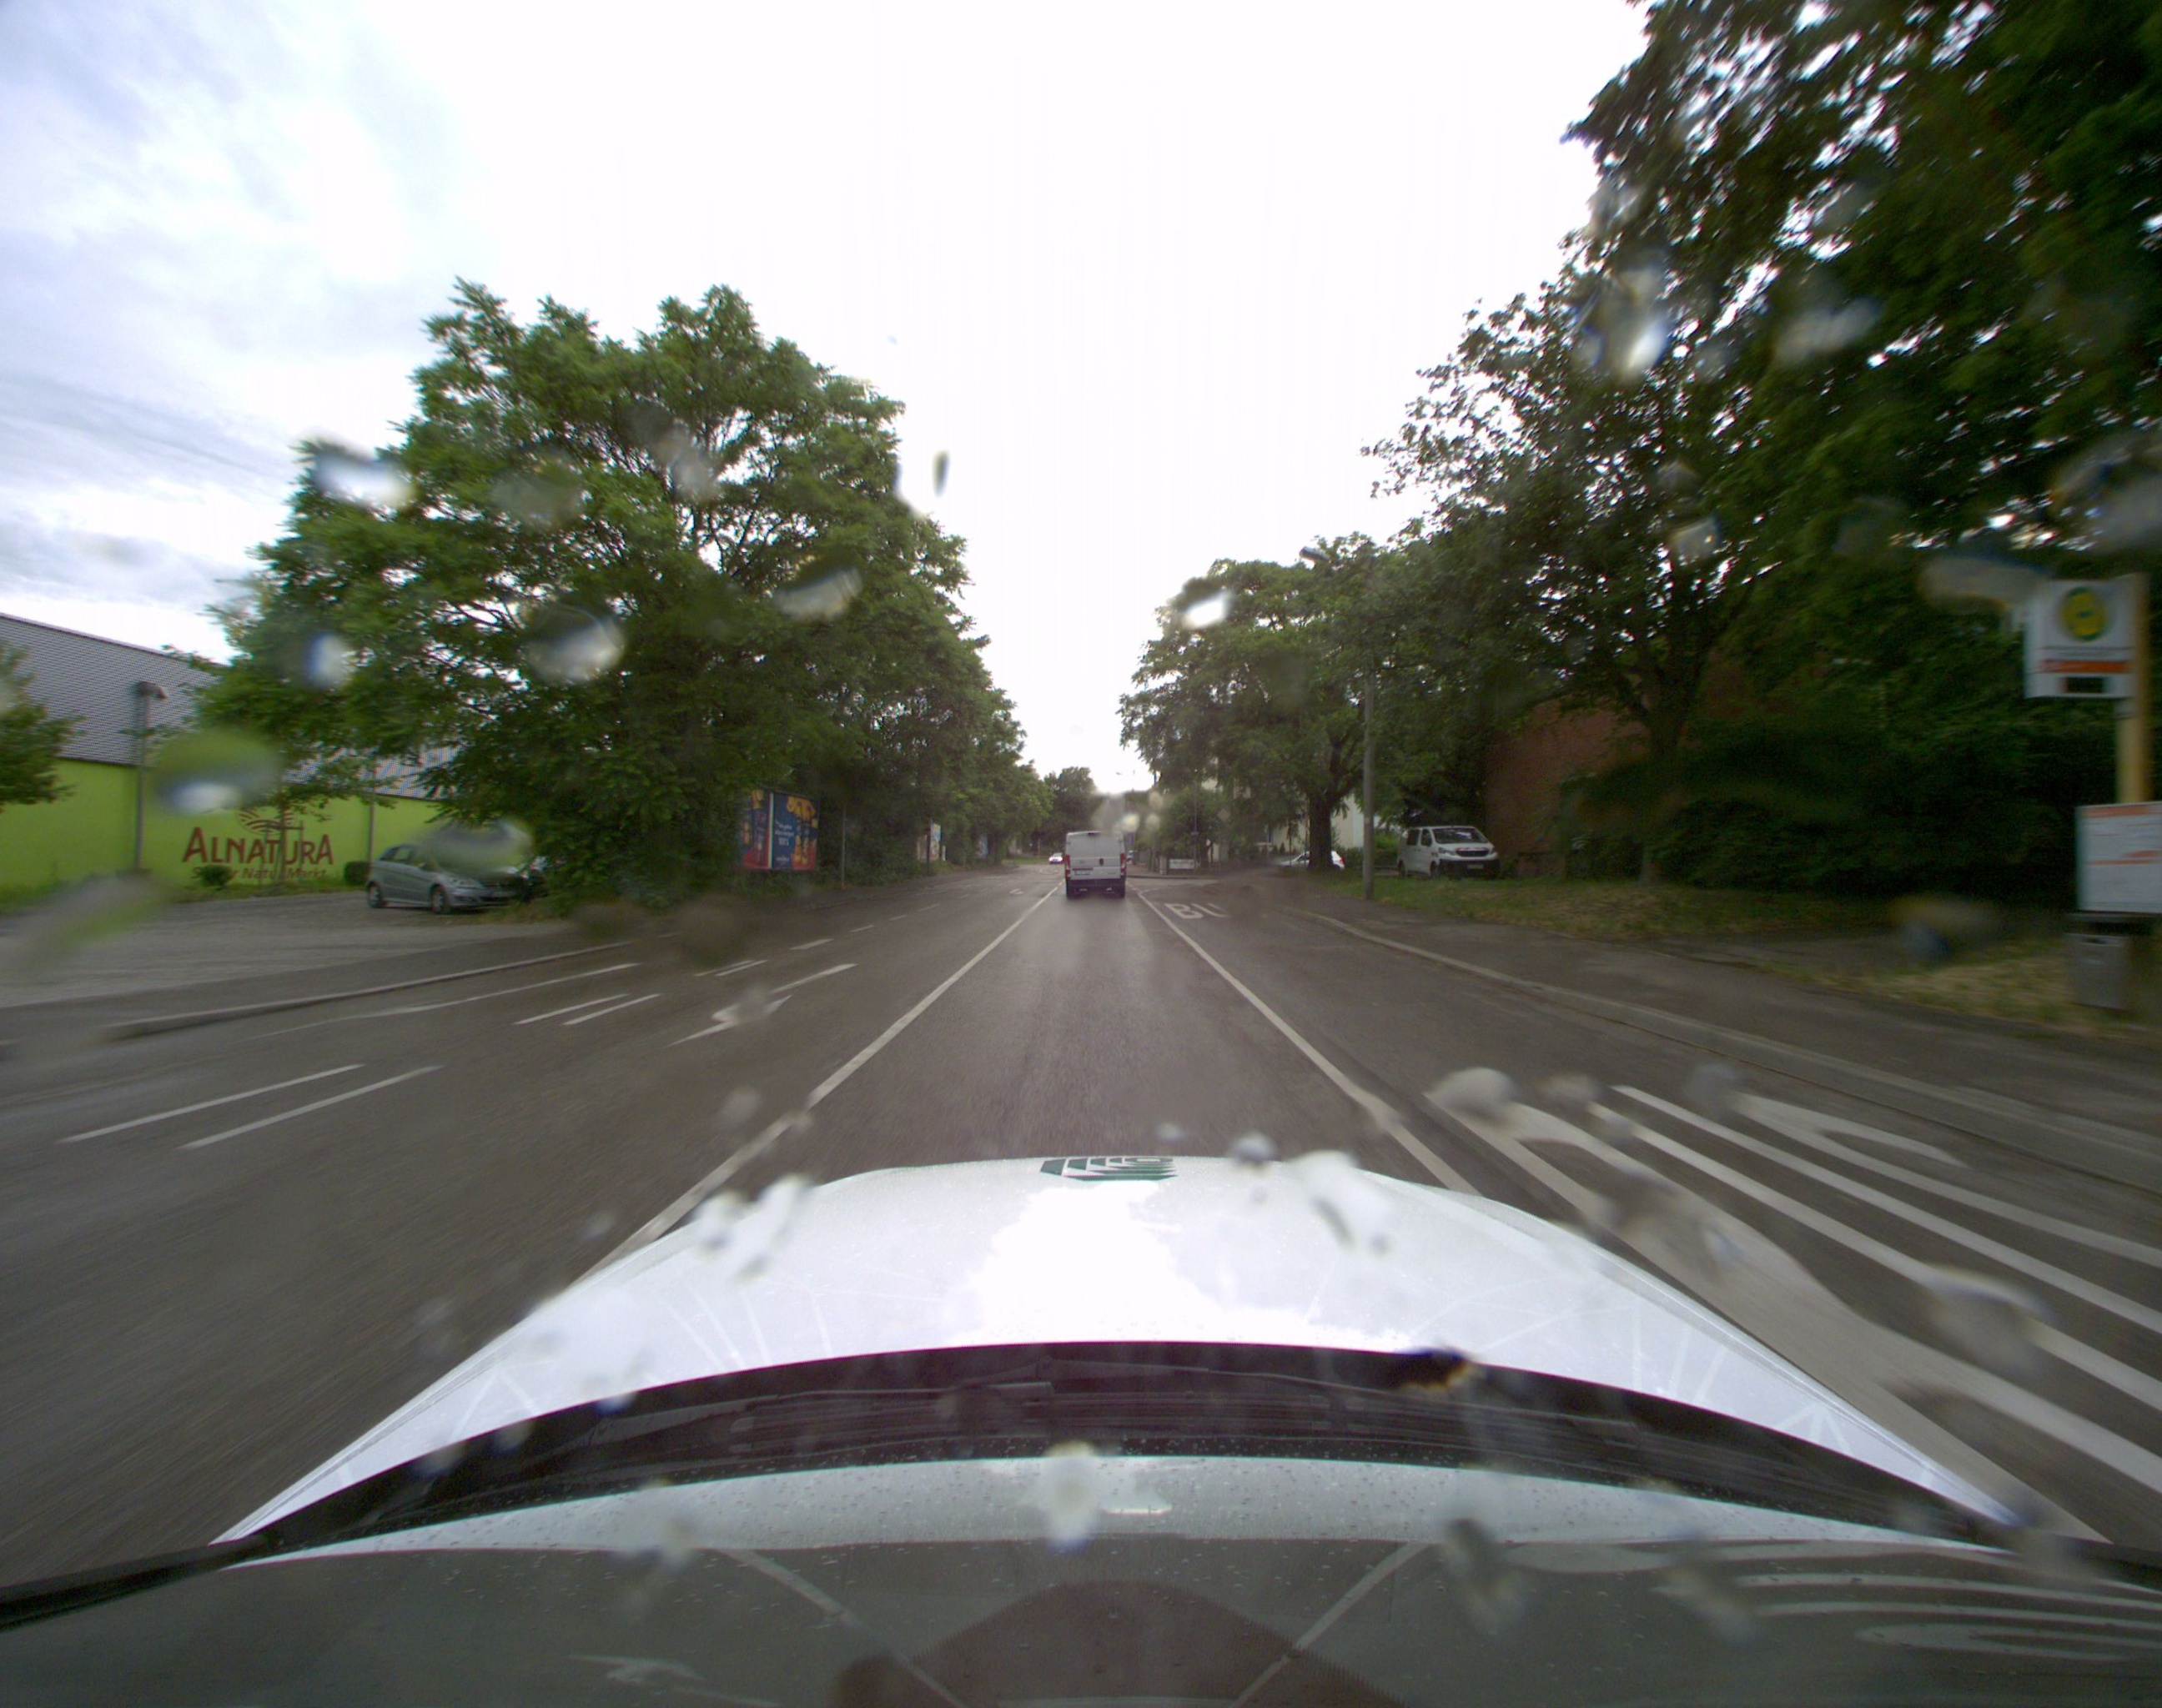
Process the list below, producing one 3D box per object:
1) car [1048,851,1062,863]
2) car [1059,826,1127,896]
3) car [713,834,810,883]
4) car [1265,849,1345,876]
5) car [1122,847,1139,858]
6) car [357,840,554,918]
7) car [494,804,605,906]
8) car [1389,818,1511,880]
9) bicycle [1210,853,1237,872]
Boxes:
[{"bbox_3d":[-3.330,0.327,103.803,1.648,1.417,3.935,-2,1,0],"label":"car"},{"bbox_3d":[0.332,0.259,29.212,2.141,2.283,5.058,1,-1,-2],"label":"car"},{"bbox_3d":[-13.895,0.159,35.379,3.949,1.937,2.013,2,1,35],"label":"car"},{"bbox_3d":[12.475,0.493,45.568,3.977,1.423,1.702,-1,-2,-2],"label":"car"},{"bbox_3d":[7.267,-0.207,118.978,1.753,1.510,3.770,1,0,15],"label":"car"},{"bbox_3d":[-14.519,0.514,18.904,4.075,1.542,2.012,2,1,27],"label":"car"},{"bbox_3d":[-15.029,-0.020,23.331,2.118,2.533,5.555,1,1,-28],"label":"car"},{"bbox_3d":[12.165,-0.160,27.286,1.985,1.805,5.152,2,0,4],"label":"car"},{"bbox_3d":[8.639,0.524,49.432,1.563,1.115,0.458,-1,0,4],"label":"bicycle"}]
